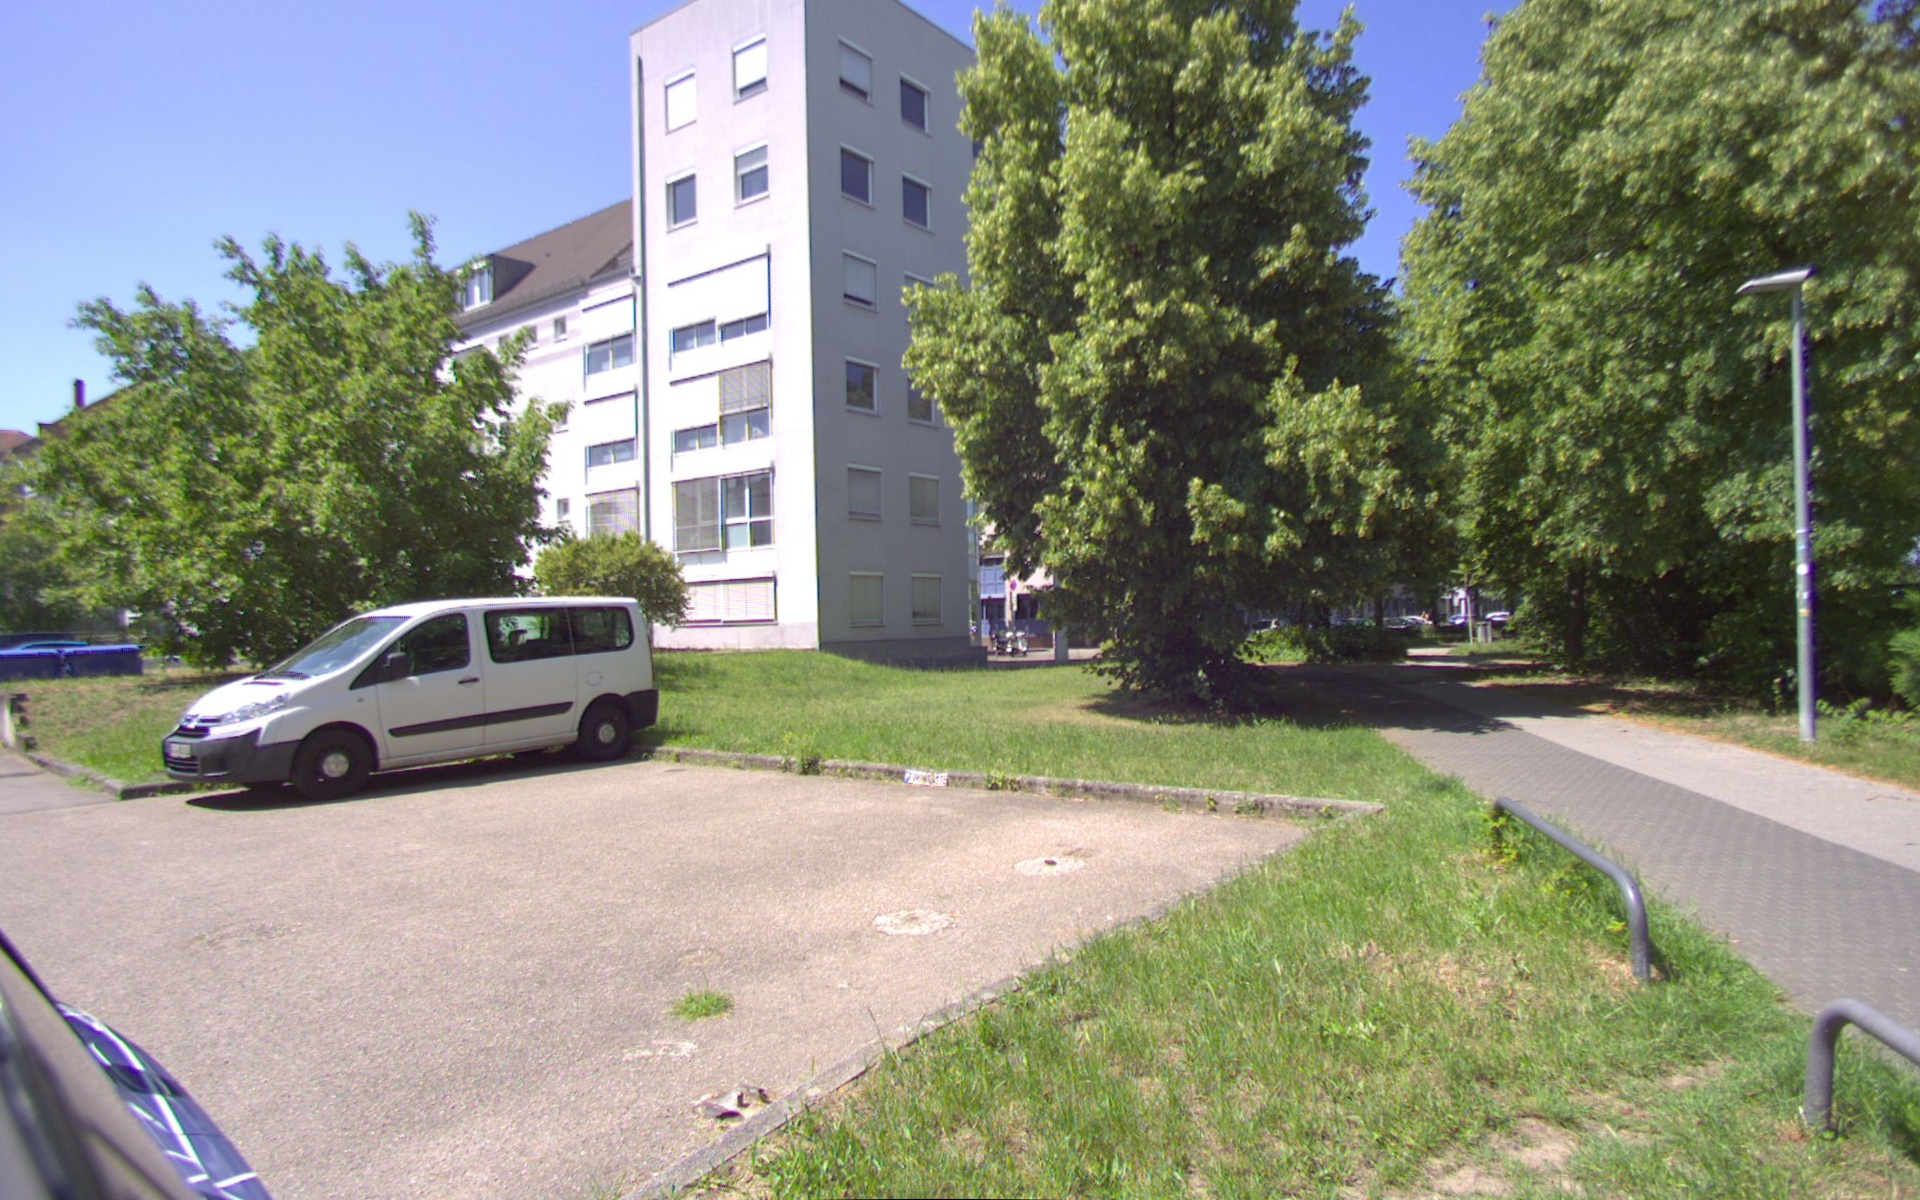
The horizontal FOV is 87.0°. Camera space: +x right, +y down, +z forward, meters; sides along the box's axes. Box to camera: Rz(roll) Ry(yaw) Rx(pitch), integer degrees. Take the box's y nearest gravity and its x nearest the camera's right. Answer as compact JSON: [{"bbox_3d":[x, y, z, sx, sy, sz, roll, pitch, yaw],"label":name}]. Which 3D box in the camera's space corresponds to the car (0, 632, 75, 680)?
[{"bbox_3d":[-39.549,2.335,41.663,1.997,1.846,4.396,-2,-1,37],"label":"car"}]

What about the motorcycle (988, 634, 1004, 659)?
[{"bbox_3d":[1.757,2.272,50.103,0.690,1.176,2.303,-1,-1,0],"label":"motorcycle"}]

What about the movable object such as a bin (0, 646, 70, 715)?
[{"bbox_3d":[-19.516,1.662,21.139,1.103,1.338,1.241,-3,-2,40],"label":"movable object such as a bin"}]

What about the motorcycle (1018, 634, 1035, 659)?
[{"bbox_3d":[3.281,2.279,50.231,0.690,1.176,2.332,-1,-1,0],"label":"motorcycle"}]

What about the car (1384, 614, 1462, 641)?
[{"bbox_3d":[23.232,1.384,50.807,3.481,1.253,1.737,-2,-2,26],"label":"car"}]

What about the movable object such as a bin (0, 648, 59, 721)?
[{"bbox_3d":[-18.432,1.631,19.658,1.103,1.338,1.241,-3,-2,40],"label":"movable object such as a bin"}]

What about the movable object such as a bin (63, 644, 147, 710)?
[{"bbox_3d":[-18.723,1.668,22.167,1.103,1.338,1.241,-3,-2,40],"label":"movable object such as a bin"}]

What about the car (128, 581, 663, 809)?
[{"bbox_3d":[-5.841,0.886,11.112,1.995,1.926,4.747,-3,-3,35],"label":"car"}]

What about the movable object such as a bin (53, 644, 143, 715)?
[{"bbox_3d":[-17.611,1.602,20.674,1.103,1.338,1.241,-3,-2,40],"label":"movable object such as a bin"}]

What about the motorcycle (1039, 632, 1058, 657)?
[{"bbox_3d":[4.366,2.198,50.091,0.690,1.176,2.332,-1,-1,0],"label":"motorcycle"}]

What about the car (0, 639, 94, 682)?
[{"bbox_3d":[-37.292,2.407,40.196,1.855,1.565,4.120,-2,-2,35],"label":"car"}]

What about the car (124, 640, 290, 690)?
[{"bbox_3d":[-24.028,2.033,32.410,1.708,1.447,3.951,-2,-3,36],"label":"car"}]

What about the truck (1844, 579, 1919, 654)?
[{"bbox_3d":[27.066,0.425,27.568,4.457,2.009,1.972,-2,-1,42],"label":"truck"}]

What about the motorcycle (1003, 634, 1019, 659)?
[{"bbox_3d":[2.521,2.287,50.233,0.690,1.176,2.310,-1,-1,0],"label":"motorcycle"}]
